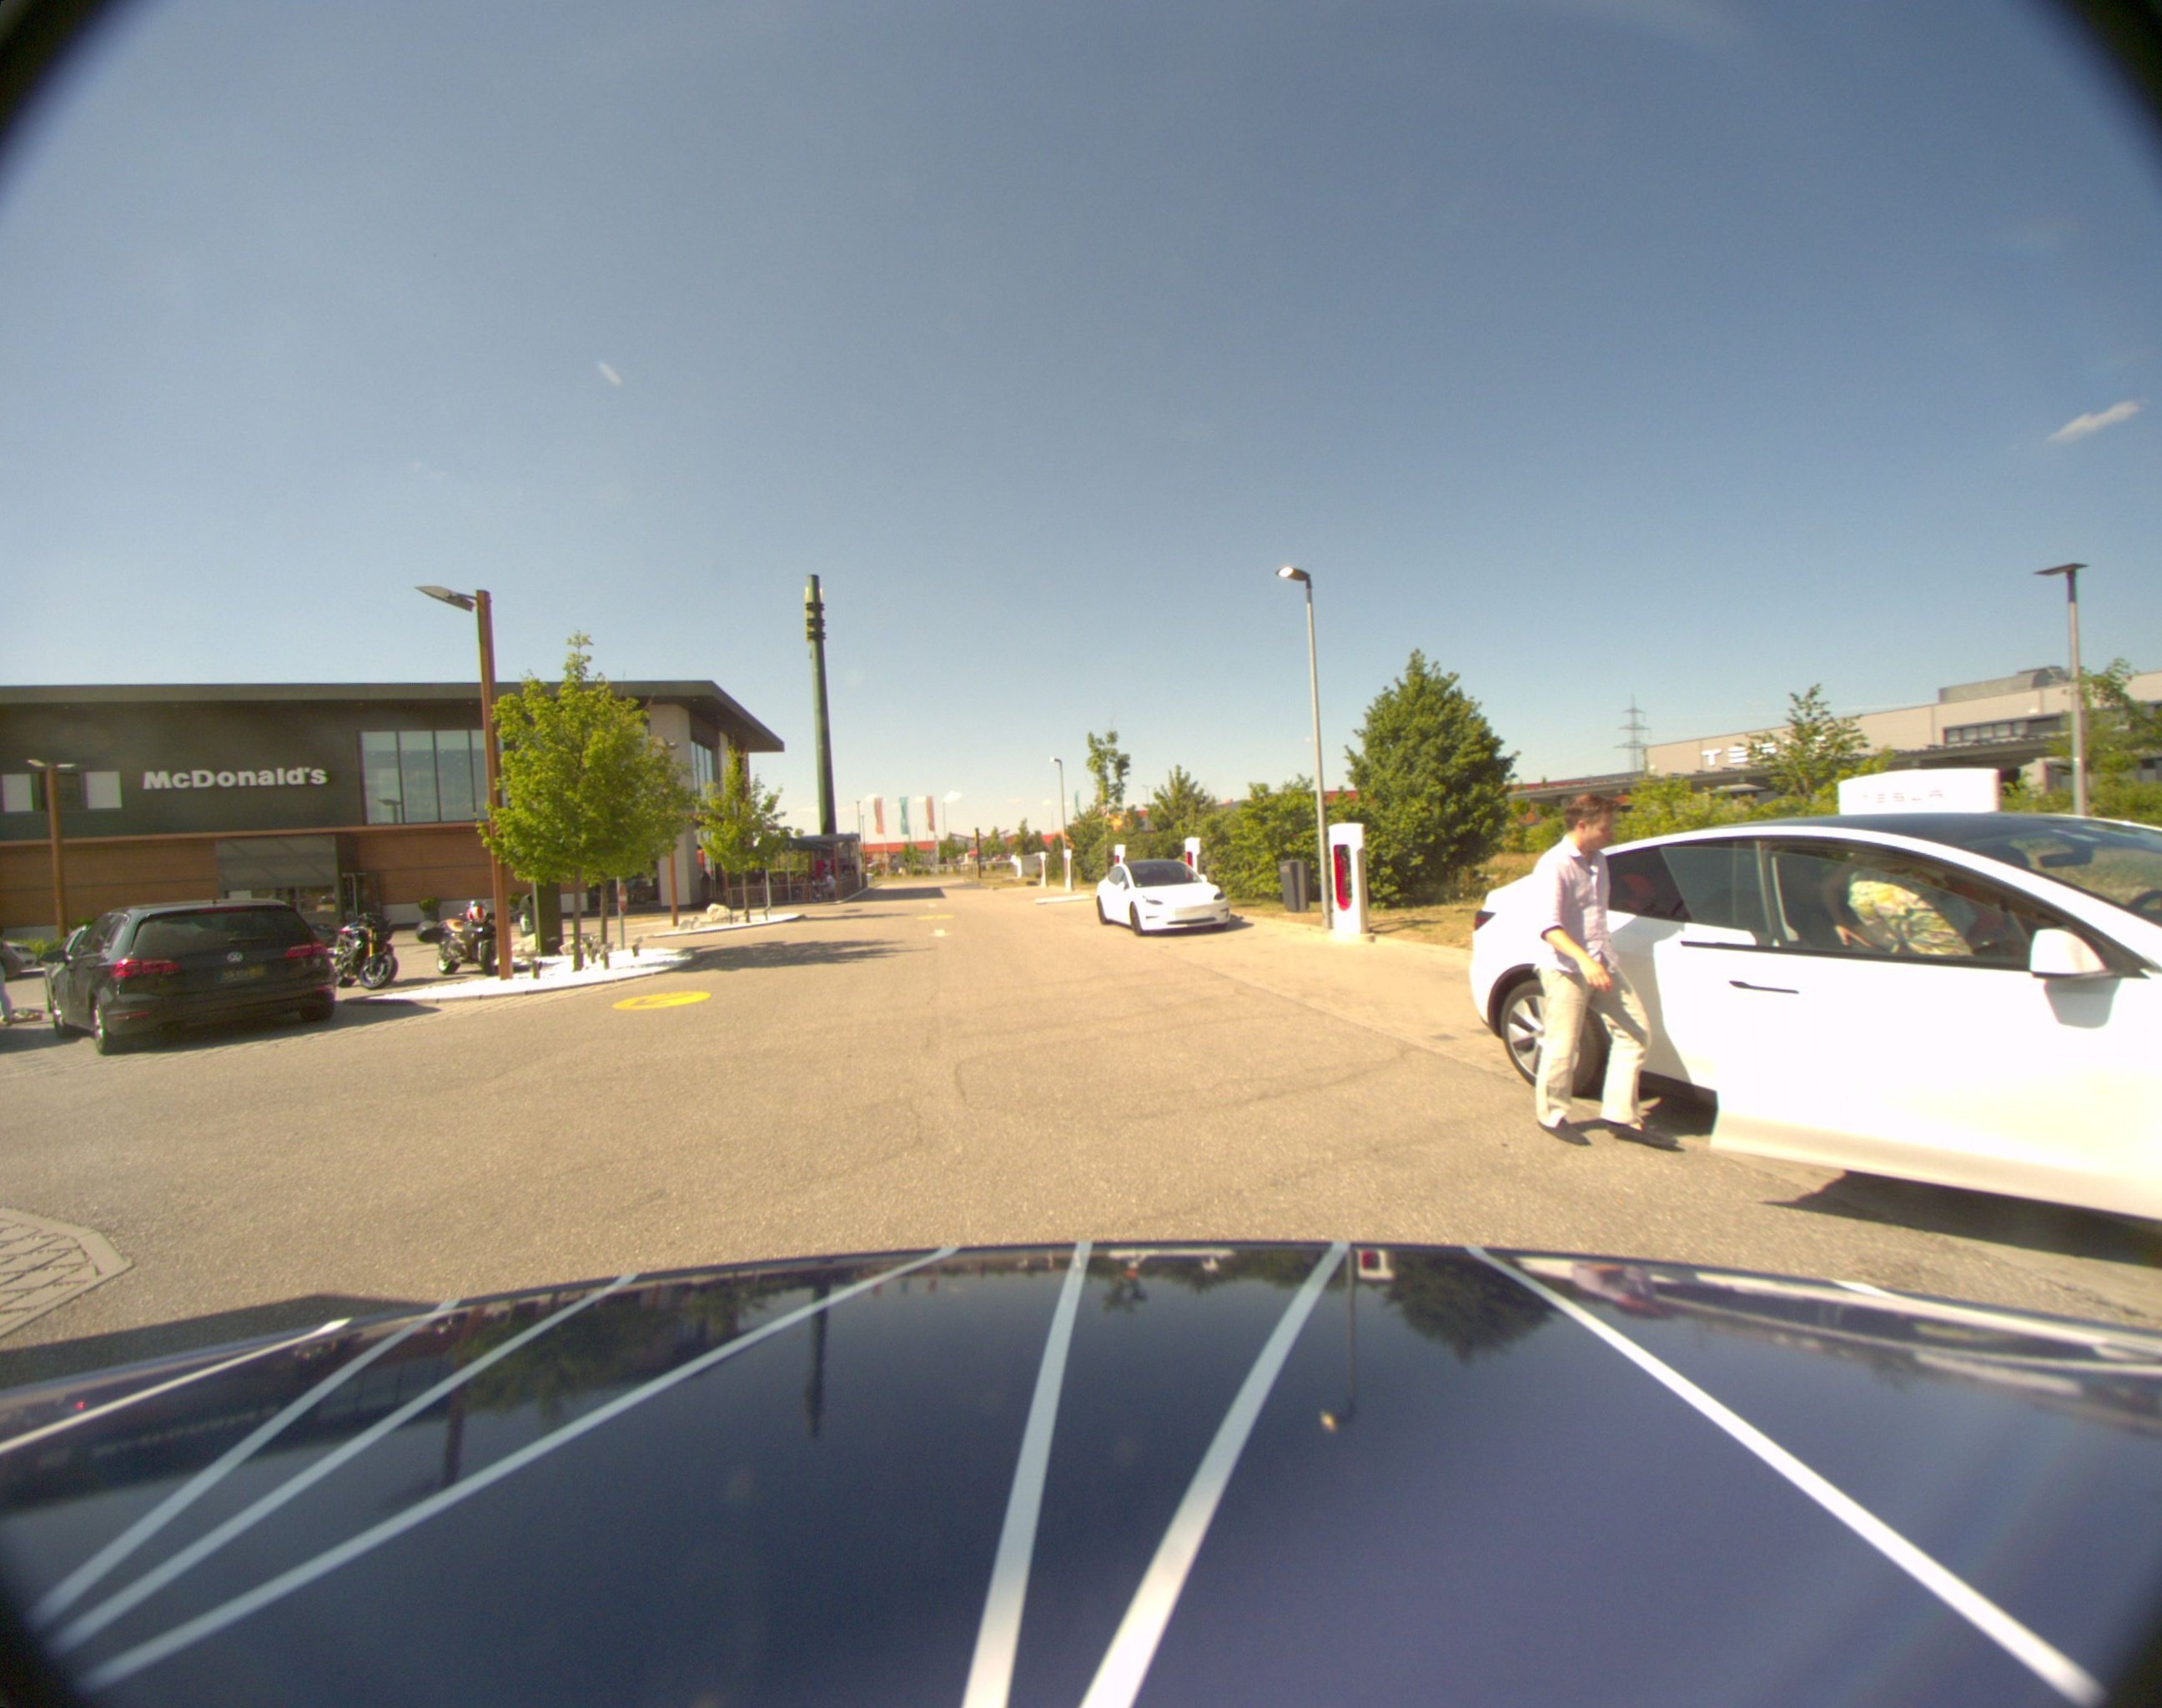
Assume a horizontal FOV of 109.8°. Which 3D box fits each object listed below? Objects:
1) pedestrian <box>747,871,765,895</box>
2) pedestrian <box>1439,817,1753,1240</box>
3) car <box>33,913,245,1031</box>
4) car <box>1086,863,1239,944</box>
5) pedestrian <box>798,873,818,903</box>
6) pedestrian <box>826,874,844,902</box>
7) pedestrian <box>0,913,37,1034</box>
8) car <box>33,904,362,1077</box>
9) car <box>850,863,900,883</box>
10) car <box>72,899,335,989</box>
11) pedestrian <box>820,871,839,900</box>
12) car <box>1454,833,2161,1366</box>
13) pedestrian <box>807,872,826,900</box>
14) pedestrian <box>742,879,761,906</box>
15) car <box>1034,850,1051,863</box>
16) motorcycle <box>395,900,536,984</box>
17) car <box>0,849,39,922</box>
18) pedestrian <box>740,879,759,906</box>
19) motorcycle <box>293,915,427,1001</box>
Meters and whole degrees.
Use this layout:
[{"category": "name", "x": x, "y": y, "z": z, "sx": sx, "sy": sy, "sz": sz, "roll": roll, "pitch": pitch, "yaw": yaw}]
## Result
[{"category": "pedestrian", "x": -15.512, "y": 1.379, "z": 36.268, "sx": 0.573, "sy": 1.094, "sz": 0.656, "roll": -4, "pitch": 1, "yaw": -13}, {"category": "pedestrian", "x": 2.500, "y": 0.754, "z": 3.830, "sx": 0.737, "sy": 1.790, "sz": 1.035, "roll": -4, "pitch": 1, "yaw": -7}, {"category": "car", "x": -15.692, "y": 1.855, "z": 12.591, "sx": 4.651, "sy": 1.438, "sz": 1.839, "roll": -5, "pitch": 0, "yaw": 35}, {"category": "car", "x": 1.548, "y": 0.926, "z": 16.200, "sx": 1.823, "sy": 1.369, "sz": 4.444, "roll": -3, "pitch": 0, "yaw": -13}, {"category": "pedestrian", "x": -12.060, "y": 1.505, "z": 33.561, "sx": 0.716, "sy": 1.250, "sz": 0.523, "roll": -4, "pitch": 1, "yaw": -16}, {"category": "pedestrian", "x": -11.563, "y": 1.607, "z": 35.765, "sx": 0.730, "sy": 1.250, "sz": 0.572, "roll": -4, "pitch": 1, "yaw": -17}, {"category": "pedestrian", "x": -15.679, "y": 1.733, "z": 10.956, "sx": 0.562, "sy": 1.703, "sz": 0.612, "roll": -3, "pitch": 1, "yaw": 41}, {"category": "car", "x": -10.861, "y": 1.481, "z": 9.292, "sx": 4.180, "sy": 1.528, "sz": 1.899, "roll": -3, "pitch": 1, "yaw": 31}, {"category": "car", "x": -19.410, "y": 1.792, "z": 71.639, "sx": 3.993, "sy": 1.652, "sz": 1.811, "roll": -3, "pitch": 0, "yaw": 13}, {"category": "car", "x": -23.045, "y": 2.261, "z": 20.159, "sx": 1.786, "sy": 1.594, "sz": 4.233, "roll": -1, "pitch": 4, "yaw": 32}, {"category": "pedestrian", "x": -11.363, "y": 1.411, "z": 34.302, "sx": 0.730, "sy": 1.250, "sz": 0.572, "roll": -4, "pitch": 1, "yaw": -17}, {"category": "car", "x": 4.060, "y": 0.756, "z": 3.293, "sx": 1.871, "sy": 1.591, "sz": 4.483, "roll": -4, "pitch": 1, "yaw": -14}, {"category": "pedestrian", "x": -12.340, "y": 1.507, "z": 35.473, "sx": 0.716, "sy": 1.250, "sz": 0.523, "roll": -4, "pitch": 1, "yaw": -16}, {"category": "pedestrian", "x": -14.497, "y": 1.673, "z": 33.403, "sx": 0.635, "sy": 1.117, "sz": 0.523, "roll": -4, "pitch": 1, "yaw": -16}, {"category": "car", "x": -6.080, "y": 0.410, "z": 120.900, "sx": 2.000, "sy": 2.002, "sz": 3.996, "roll": -3, "pitch": 0, "yaw": -12}, {"category": "motorcycle", "x": -10.747, "y": 1.536, "z": 13.257, "sx": 2.247, "sy": 1.243, "sz": 1.072, "roll": -5, "pitch": 1, "yaw": 30}, {"category": "car", "x": -29.659, "y": 0.915, "z": 18.879, "sx": 1.754, "sy": 1.910, "sz": 4.152, "roll": -3, "pitch": 0, "yaw": 28}, {"category": "pedestrian", "x": -14.271, "y": 1.641, "z": 32.719, "sx": 0.635, "sy": 1.117, "sz": 0.523, "roll": -4, "pitch": 1, "yaw": -16}, {"category": "motorcycle", "x": -11.788, "y": 1.689, "z": 12.420, "sx": 2.136, "sy": 1.224, "sz": 0.822, "roll": -4, "pitch": 1, "yaw": 26}]
